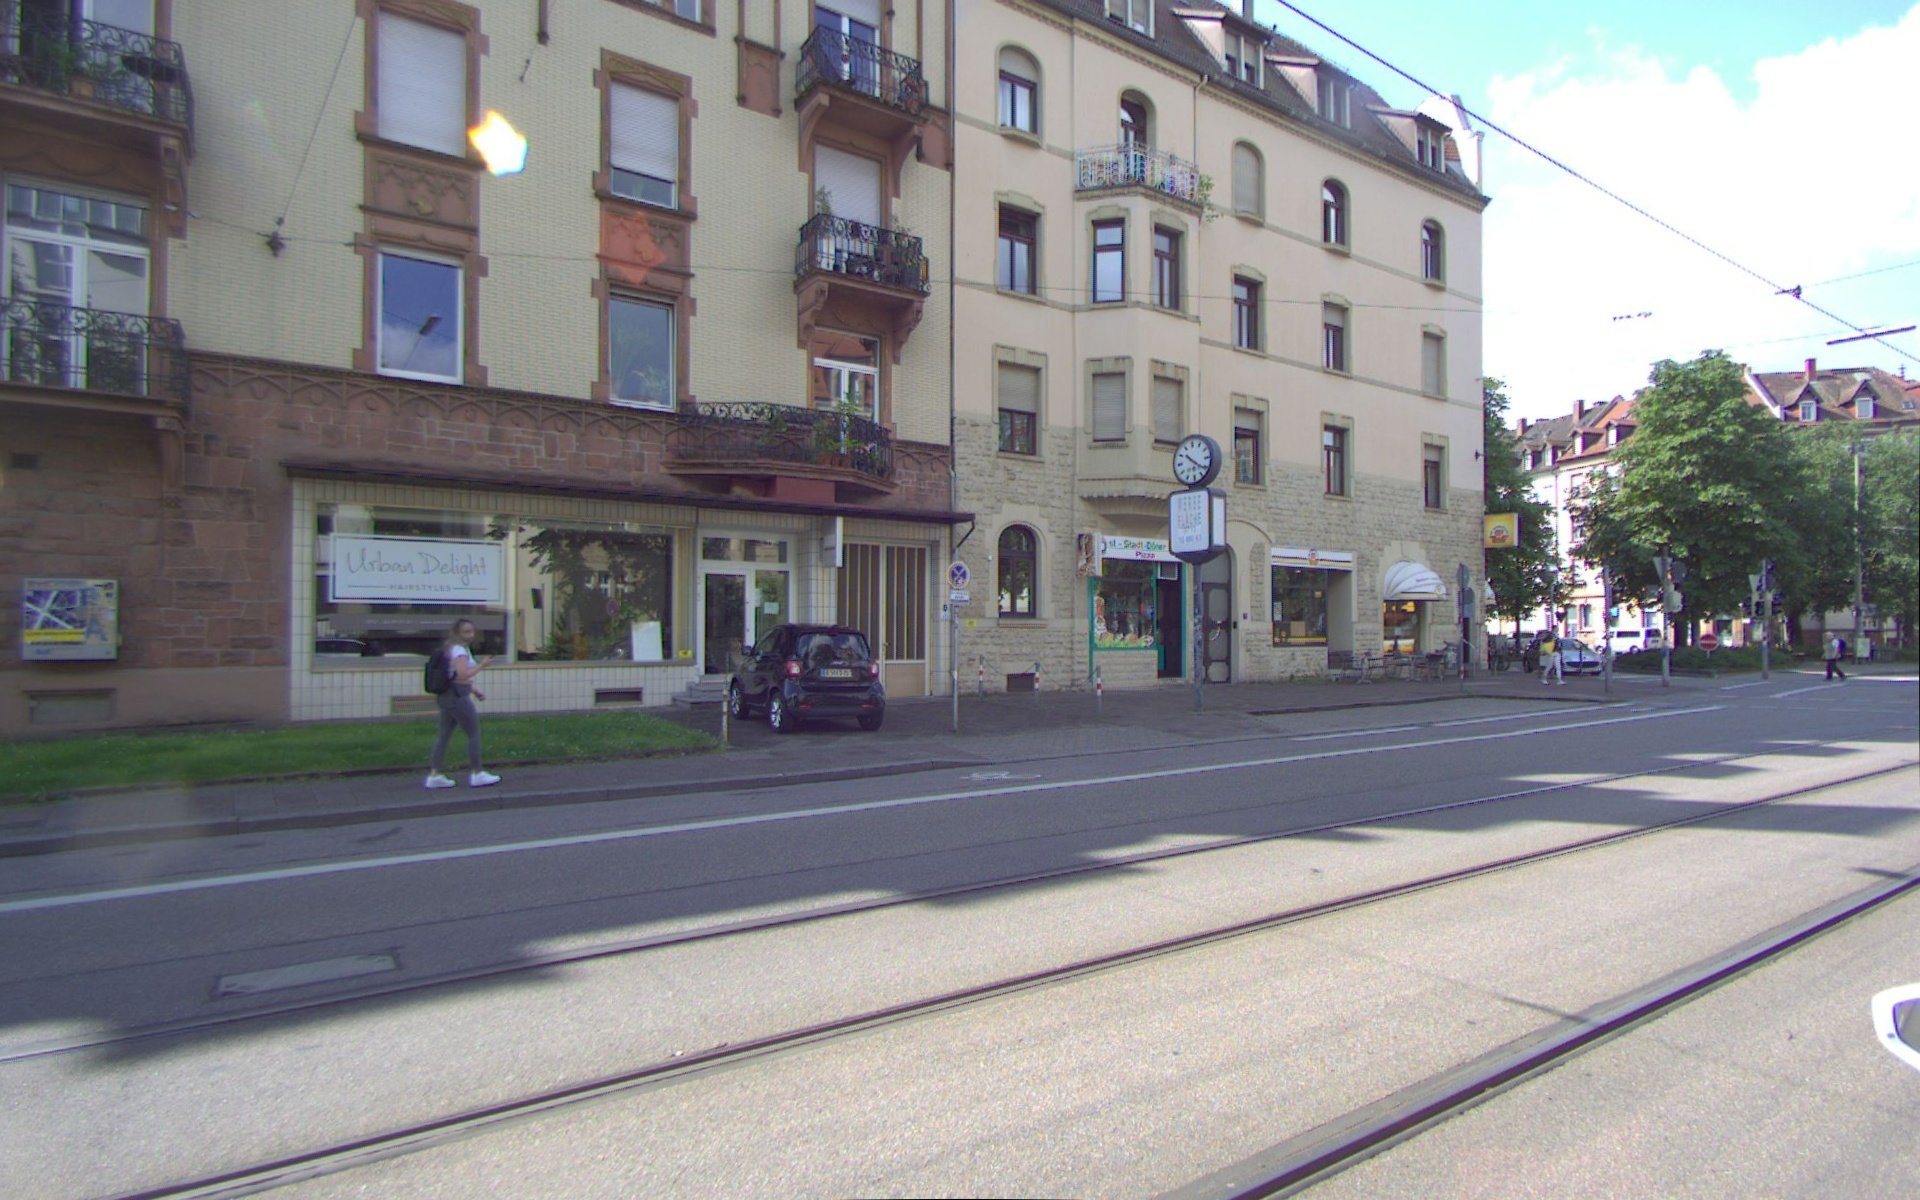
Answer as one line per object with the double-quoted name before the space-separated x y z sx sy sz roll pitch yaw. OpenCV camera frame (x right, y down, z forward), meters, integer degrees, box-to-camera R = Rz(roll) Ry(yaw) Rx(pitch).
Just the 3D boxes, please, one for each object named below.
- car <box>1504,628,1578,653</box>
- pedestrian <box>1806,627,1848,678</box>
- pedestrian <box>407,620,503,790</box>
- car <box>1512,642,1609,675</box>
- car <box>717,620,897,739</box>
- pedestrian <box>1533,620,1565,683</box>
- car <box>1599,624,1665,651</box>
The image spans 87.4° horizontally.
"car" 39.419 2.739 68.237 1.976 1.617 3.970 1 -2 -29
"pedestrian" 29.840 1.800 34.580 0.706 1.728 0.822 0 -1 -11
"pedestrian" -4.925 0.987 9.795 0.757 1.561 0.752 1 -2 -32
"car" 23.704 2.275 39.819 1.645 1.198 4.002 0 -2 4
"car" -2.467 1.130 15.596 1.716 1.505 3.162 1 1 -30
"pedestrian" 17.033 1.480 29.069 0.674 1.777 0.798 -1 -2 39
"car" 49.788 2.768 74.494 1.962 1.929 3.997 0 -2 -5
